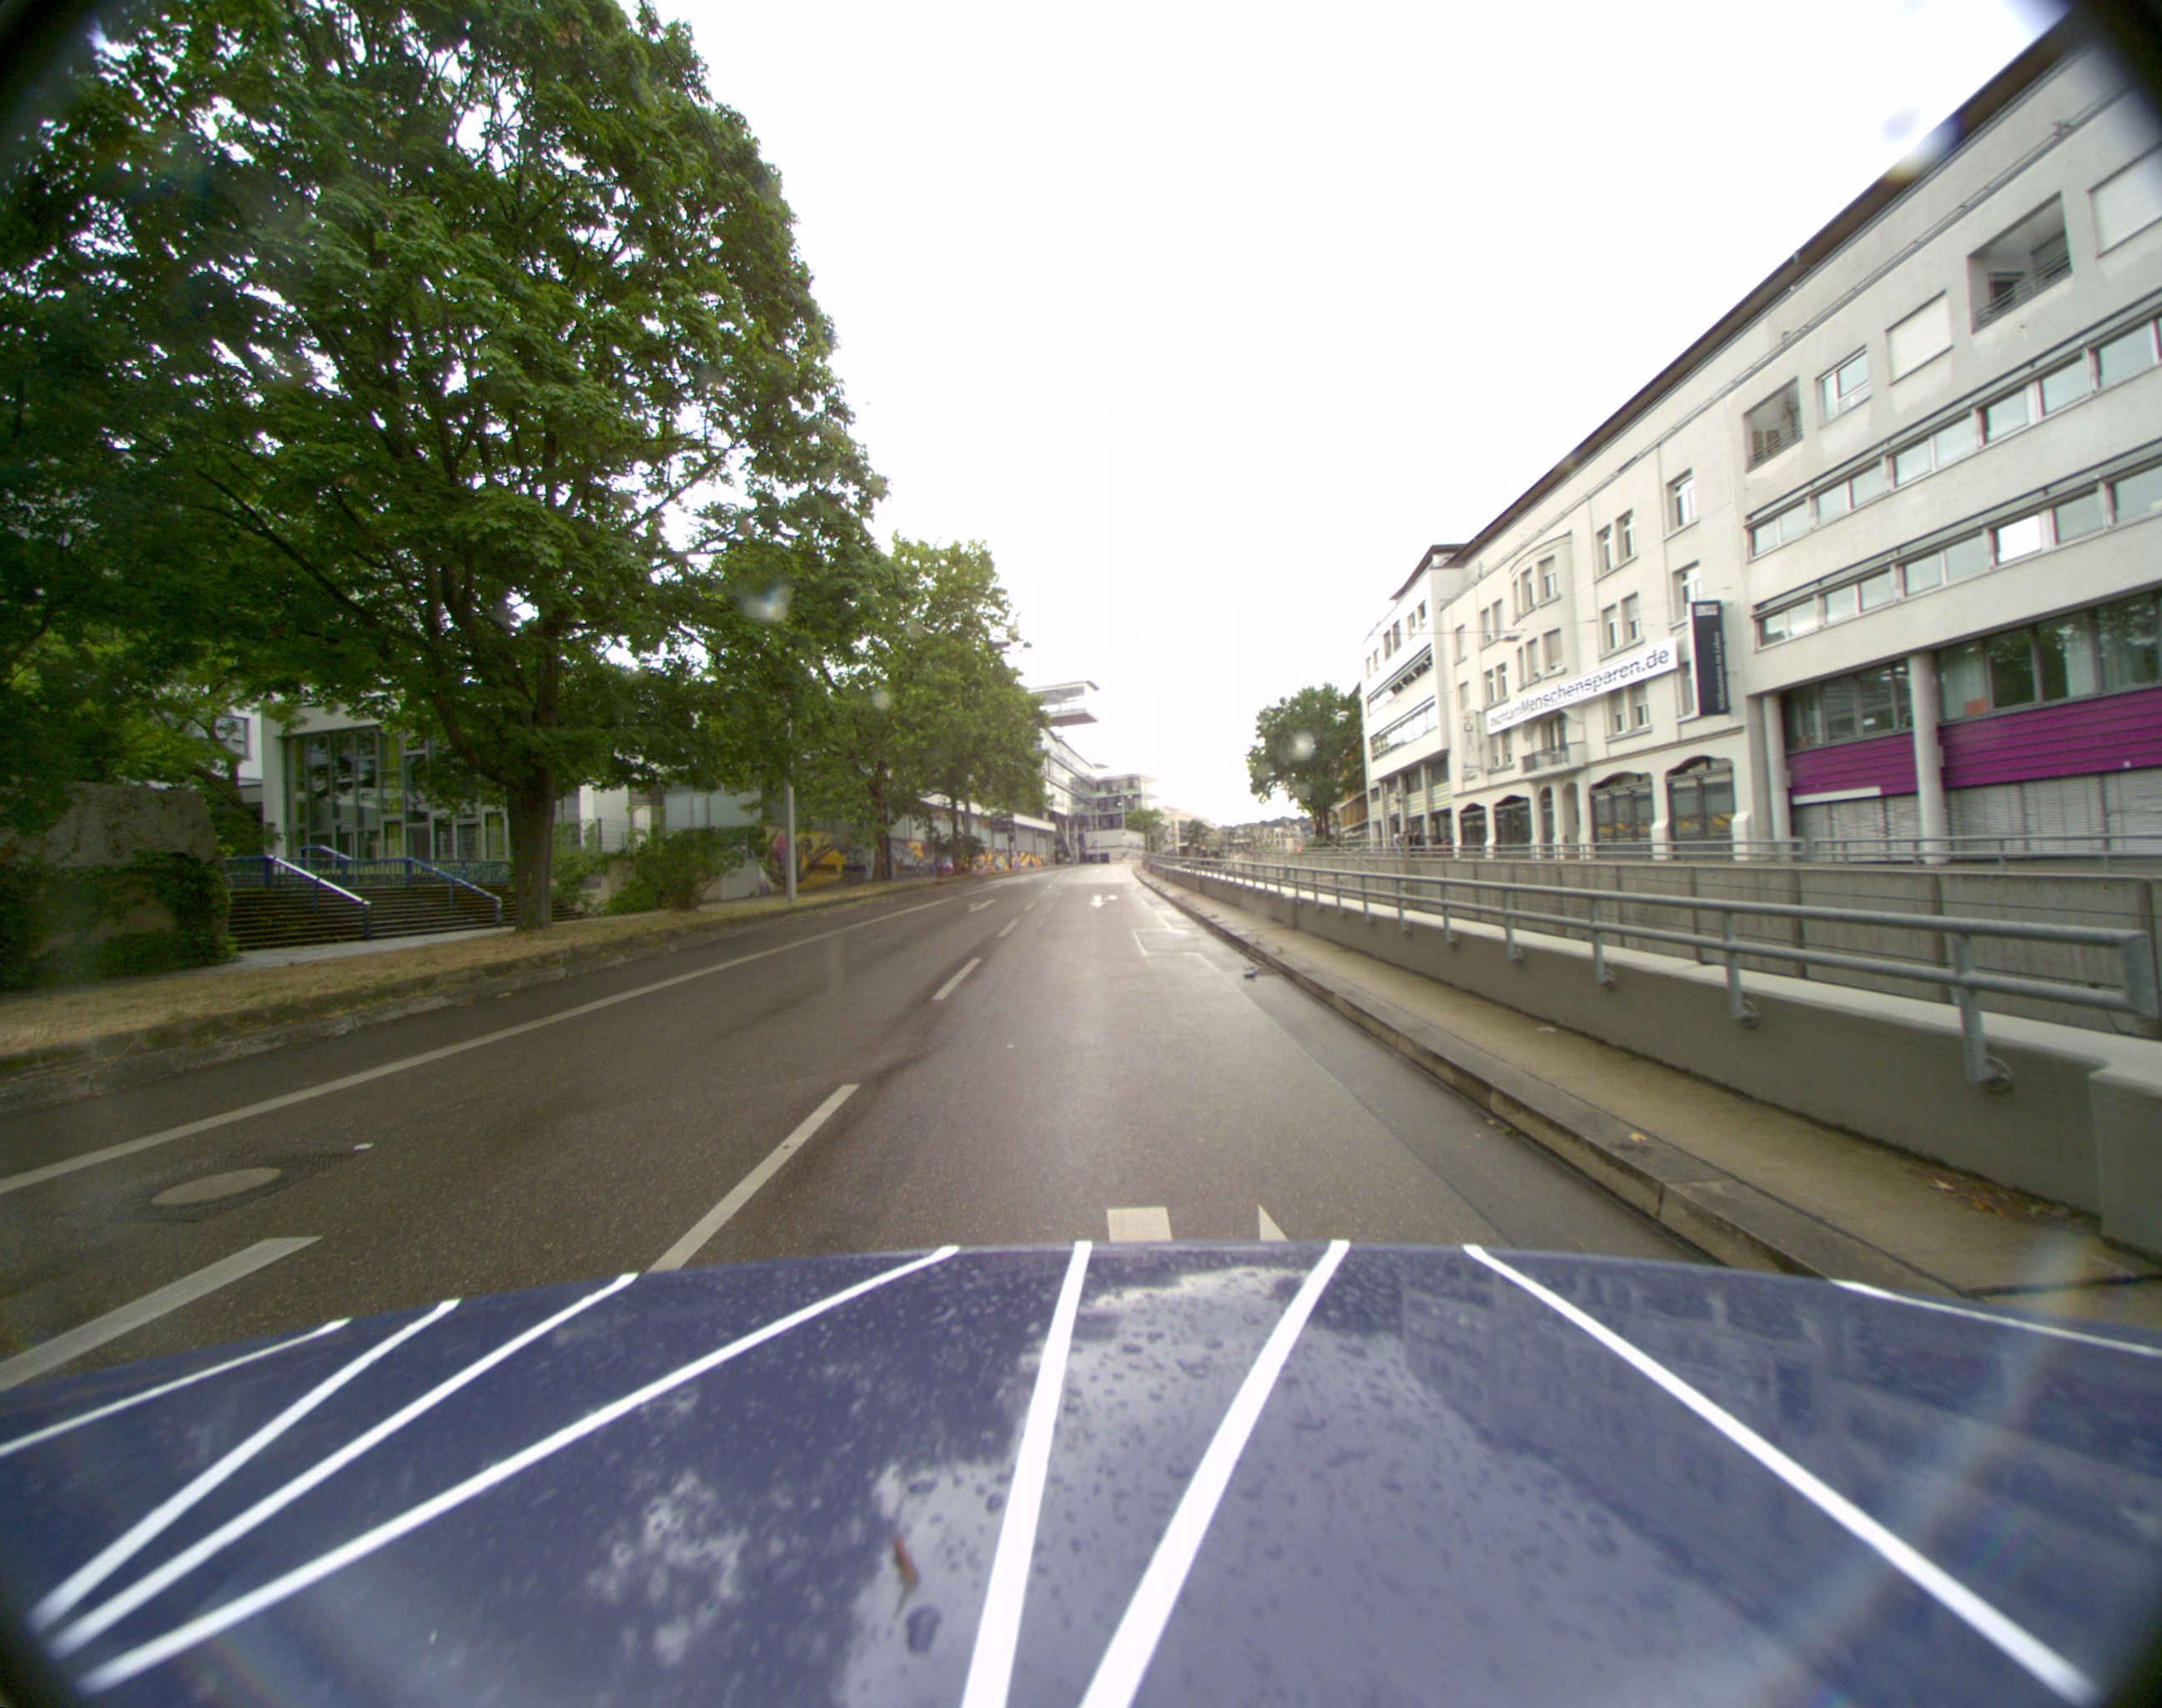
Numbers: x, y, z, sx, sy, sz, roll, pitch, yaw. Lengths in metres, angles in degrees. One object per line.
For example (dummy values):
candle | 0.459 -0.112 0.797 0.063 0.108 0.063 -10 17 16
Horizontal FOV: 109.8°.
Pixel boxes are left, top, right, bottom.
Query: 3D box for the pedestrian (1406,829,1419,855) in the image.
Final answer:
pedestrian | 22.480 -0.811 51.577 0.547 1.792 0.470 -4 1 -7

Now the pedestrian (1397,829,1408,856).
pedestrian | 21.752 -0.788 51.350 0.469 1.792 0.548 -4 1 8

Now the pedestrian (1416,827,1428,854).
pedestrian | 22.571 -0.885 50.315 0.470 1.792 0.547 -4 1 3

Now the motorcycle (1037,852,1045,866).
motorcycle | -3.562 0.407 67.637 0.469 1.218 1.019 -4 0 9
